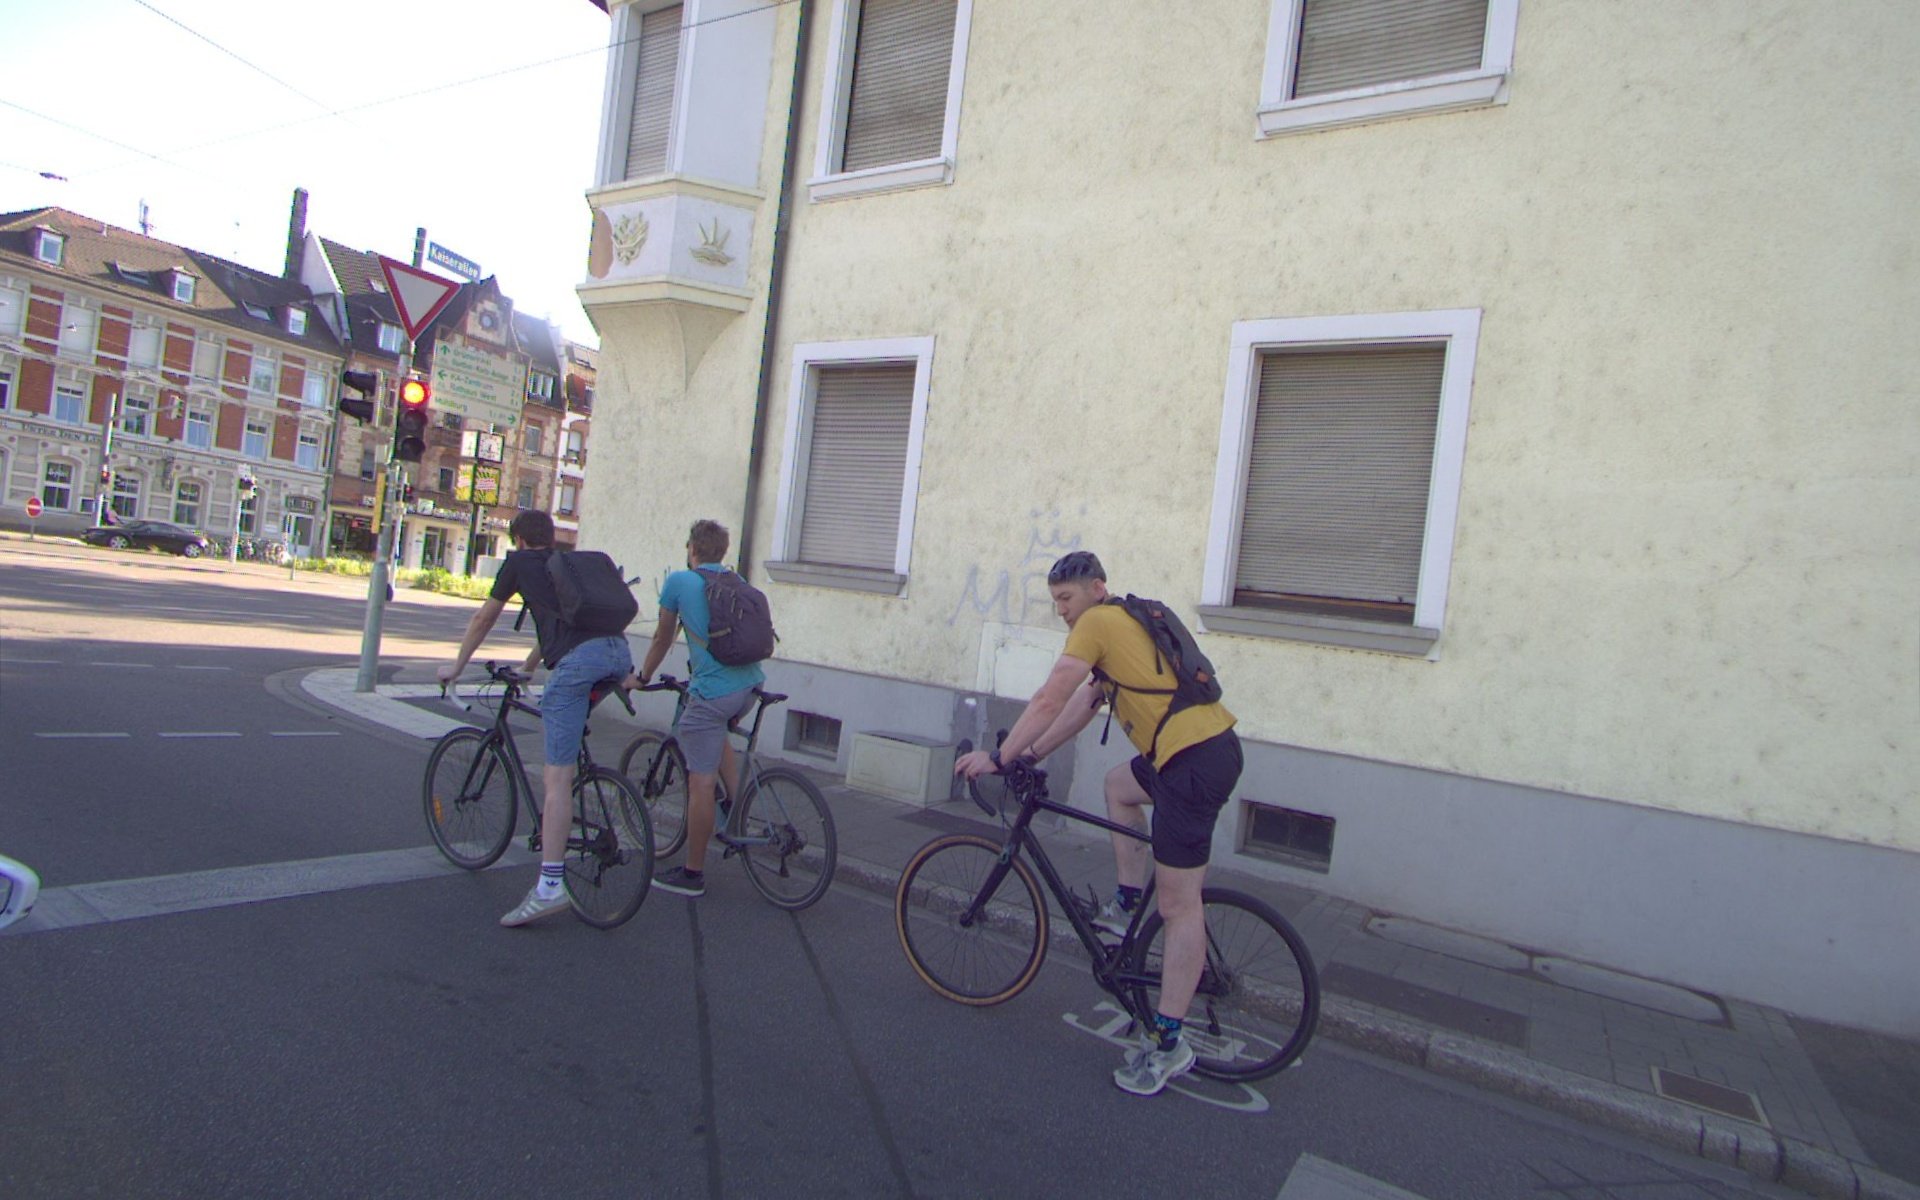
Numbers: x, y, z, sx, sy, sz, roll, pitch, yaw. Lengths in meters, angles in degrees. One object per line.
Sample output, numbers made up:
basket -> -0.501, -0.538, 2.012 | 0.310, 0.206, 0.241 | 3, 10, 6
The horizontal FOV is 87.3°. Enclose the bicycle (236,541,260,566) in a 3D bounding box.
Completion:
bicycle -> -33.679, -2.191, 47.564 | 1.759, 1.033, 0.485 | 7, 0, 42

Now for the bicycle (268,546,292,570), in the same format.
bicycle -> -33.096, -2.058, 48.979 | 1.759, 1.033, 0.485 | 7, 0, 42

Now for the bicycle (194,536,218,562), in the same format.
bicycle -> -34.645, -2.340, 46.202 | 1.759, 1.033, 0.485 | 7, 0, 42

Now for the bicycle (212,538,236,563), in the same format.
bicycle -> -34.193, -2.292, 46.748 | 1.759, 1.033, 0.485 | 7, 0, 42

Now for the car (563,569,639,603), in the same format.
car -> -23.263, -0.893, 65.279 | 1.966, 1.641, 4.261 | 7, -1, 29

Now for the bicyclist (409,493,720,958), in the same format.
bicyclist -> -1.754, 0.492, 4.471 | 0.978, 1.788, 0.652 | 7, 0, 32

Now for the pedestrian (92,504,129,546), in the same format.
pedestrian -> -38.766, -3.427, 45.897 | 0.620, 1.731, 1.035 | 6, -1, 40

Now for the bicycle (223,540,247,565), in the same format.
bicycle -> -34.007, -2.250, 47.172 | 1.759, 1.033, 0.485 | 7, 0, 42

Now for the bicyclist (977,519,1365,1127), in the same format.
bicyclist -> 0.768, 0.696, 3.658 | 1.019, 1.839, 0.652 | 7, 0, 32

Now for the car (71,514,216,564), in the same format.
car -> -32.403, -2.385, 40.035 | 1.694, 1.316, 4.066 | 7, -1, 32

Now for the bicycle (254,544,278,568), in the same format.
bicycle -> -33.316, -2.114, 48.292 | 1.759, 1.033, 0.485 | 7, 0, 42

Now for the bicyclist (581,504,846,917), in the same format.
bicyclist -> -1.290, 0.524, 5.272 | 0.978, 1.910, 0.652 | 7, 0, 32

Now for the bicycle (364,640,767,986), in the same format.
bicycle -> -1.803, 0.835, 4.469 | 1.858, 1.071, 0.571 | 7, 0, 32

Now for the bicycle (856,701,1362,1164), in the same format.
bicycle -> 0.509, 1.090, 3.774 | 1.670, 1.180, 0.571 | 7, 0, 32

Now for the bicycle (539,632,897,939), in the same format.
bicycle -> -1.313, 0.877, 5.282 | 1.858, 1.180, 0.571 | 7, 0, 32
